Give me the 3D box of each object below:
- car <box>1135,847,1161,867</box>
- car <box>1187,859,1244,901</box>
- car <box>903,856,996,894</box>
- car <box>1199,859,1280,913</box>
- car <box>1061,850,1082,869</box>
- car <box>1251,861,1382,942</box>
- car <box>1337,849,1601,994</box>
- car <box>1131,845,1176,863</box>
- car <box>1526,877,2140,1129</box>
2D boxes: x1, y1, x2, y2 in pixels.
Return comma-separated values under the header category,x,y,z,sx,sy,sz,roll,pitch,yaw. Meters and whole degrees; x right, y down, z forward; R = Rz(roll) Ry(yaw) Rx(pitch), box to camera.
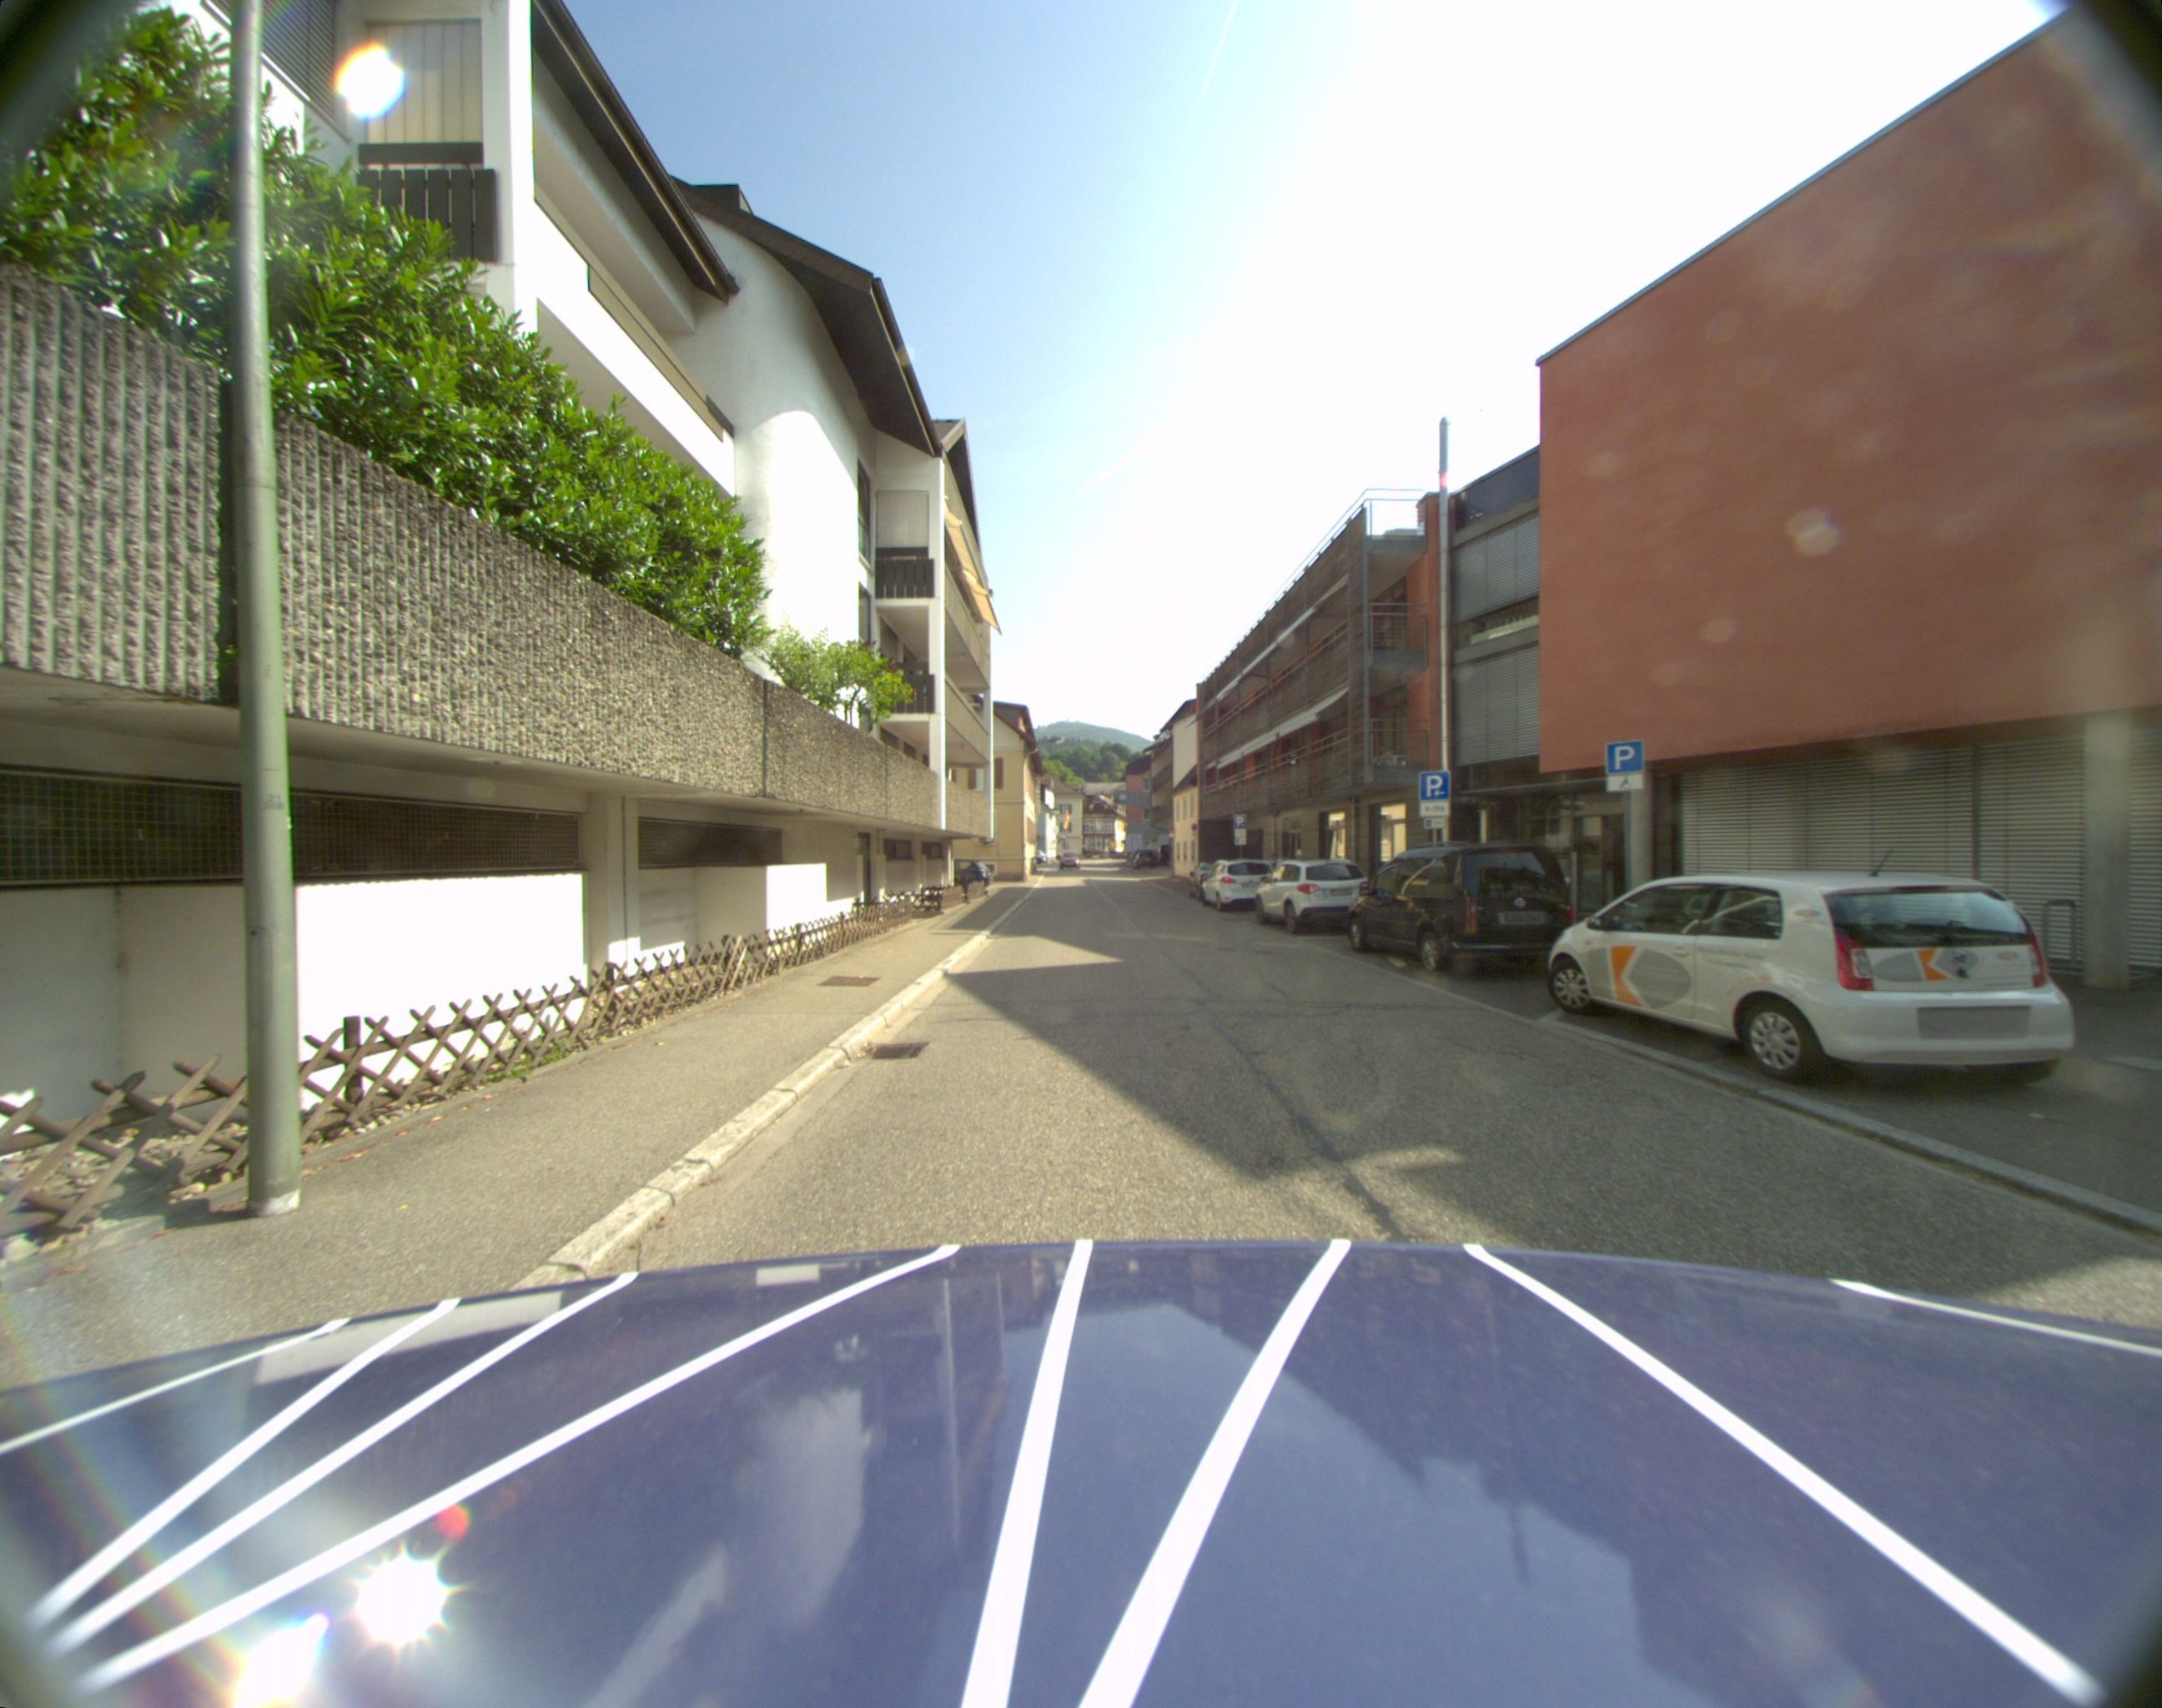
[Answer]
category,x,y,z,sx,sy,sz,roll,pitch,yaw
car,5.747,0.205,65.544,1.787,1.566,3.888,-3,0,-1
car,5.101,0.956,29.287,1.553,1.408,3.593,-2,1,1
car,-5.822,0.926,33.893,3.837,1.470,1.700,-2,0,-2
car,4.943,0.945,24.128,1.678,1.546,3.764,-1,0,-1
car,-0.897,0.503,69.918,1.822,1.652,3.999,0,0,-1
car,5.222,0.974,17.375,1.679,1.580,3.949,-1,0,-1
car,5.553,0.840,11.578,1.725,1.786,4.268,-1,0,-2
car,7.051,-0.016,73.887,4.000,1.673,1.834,0,-1,-9
car,5.657,0.973,6.448,1.670,1.423,3.569,-2,-1,1
